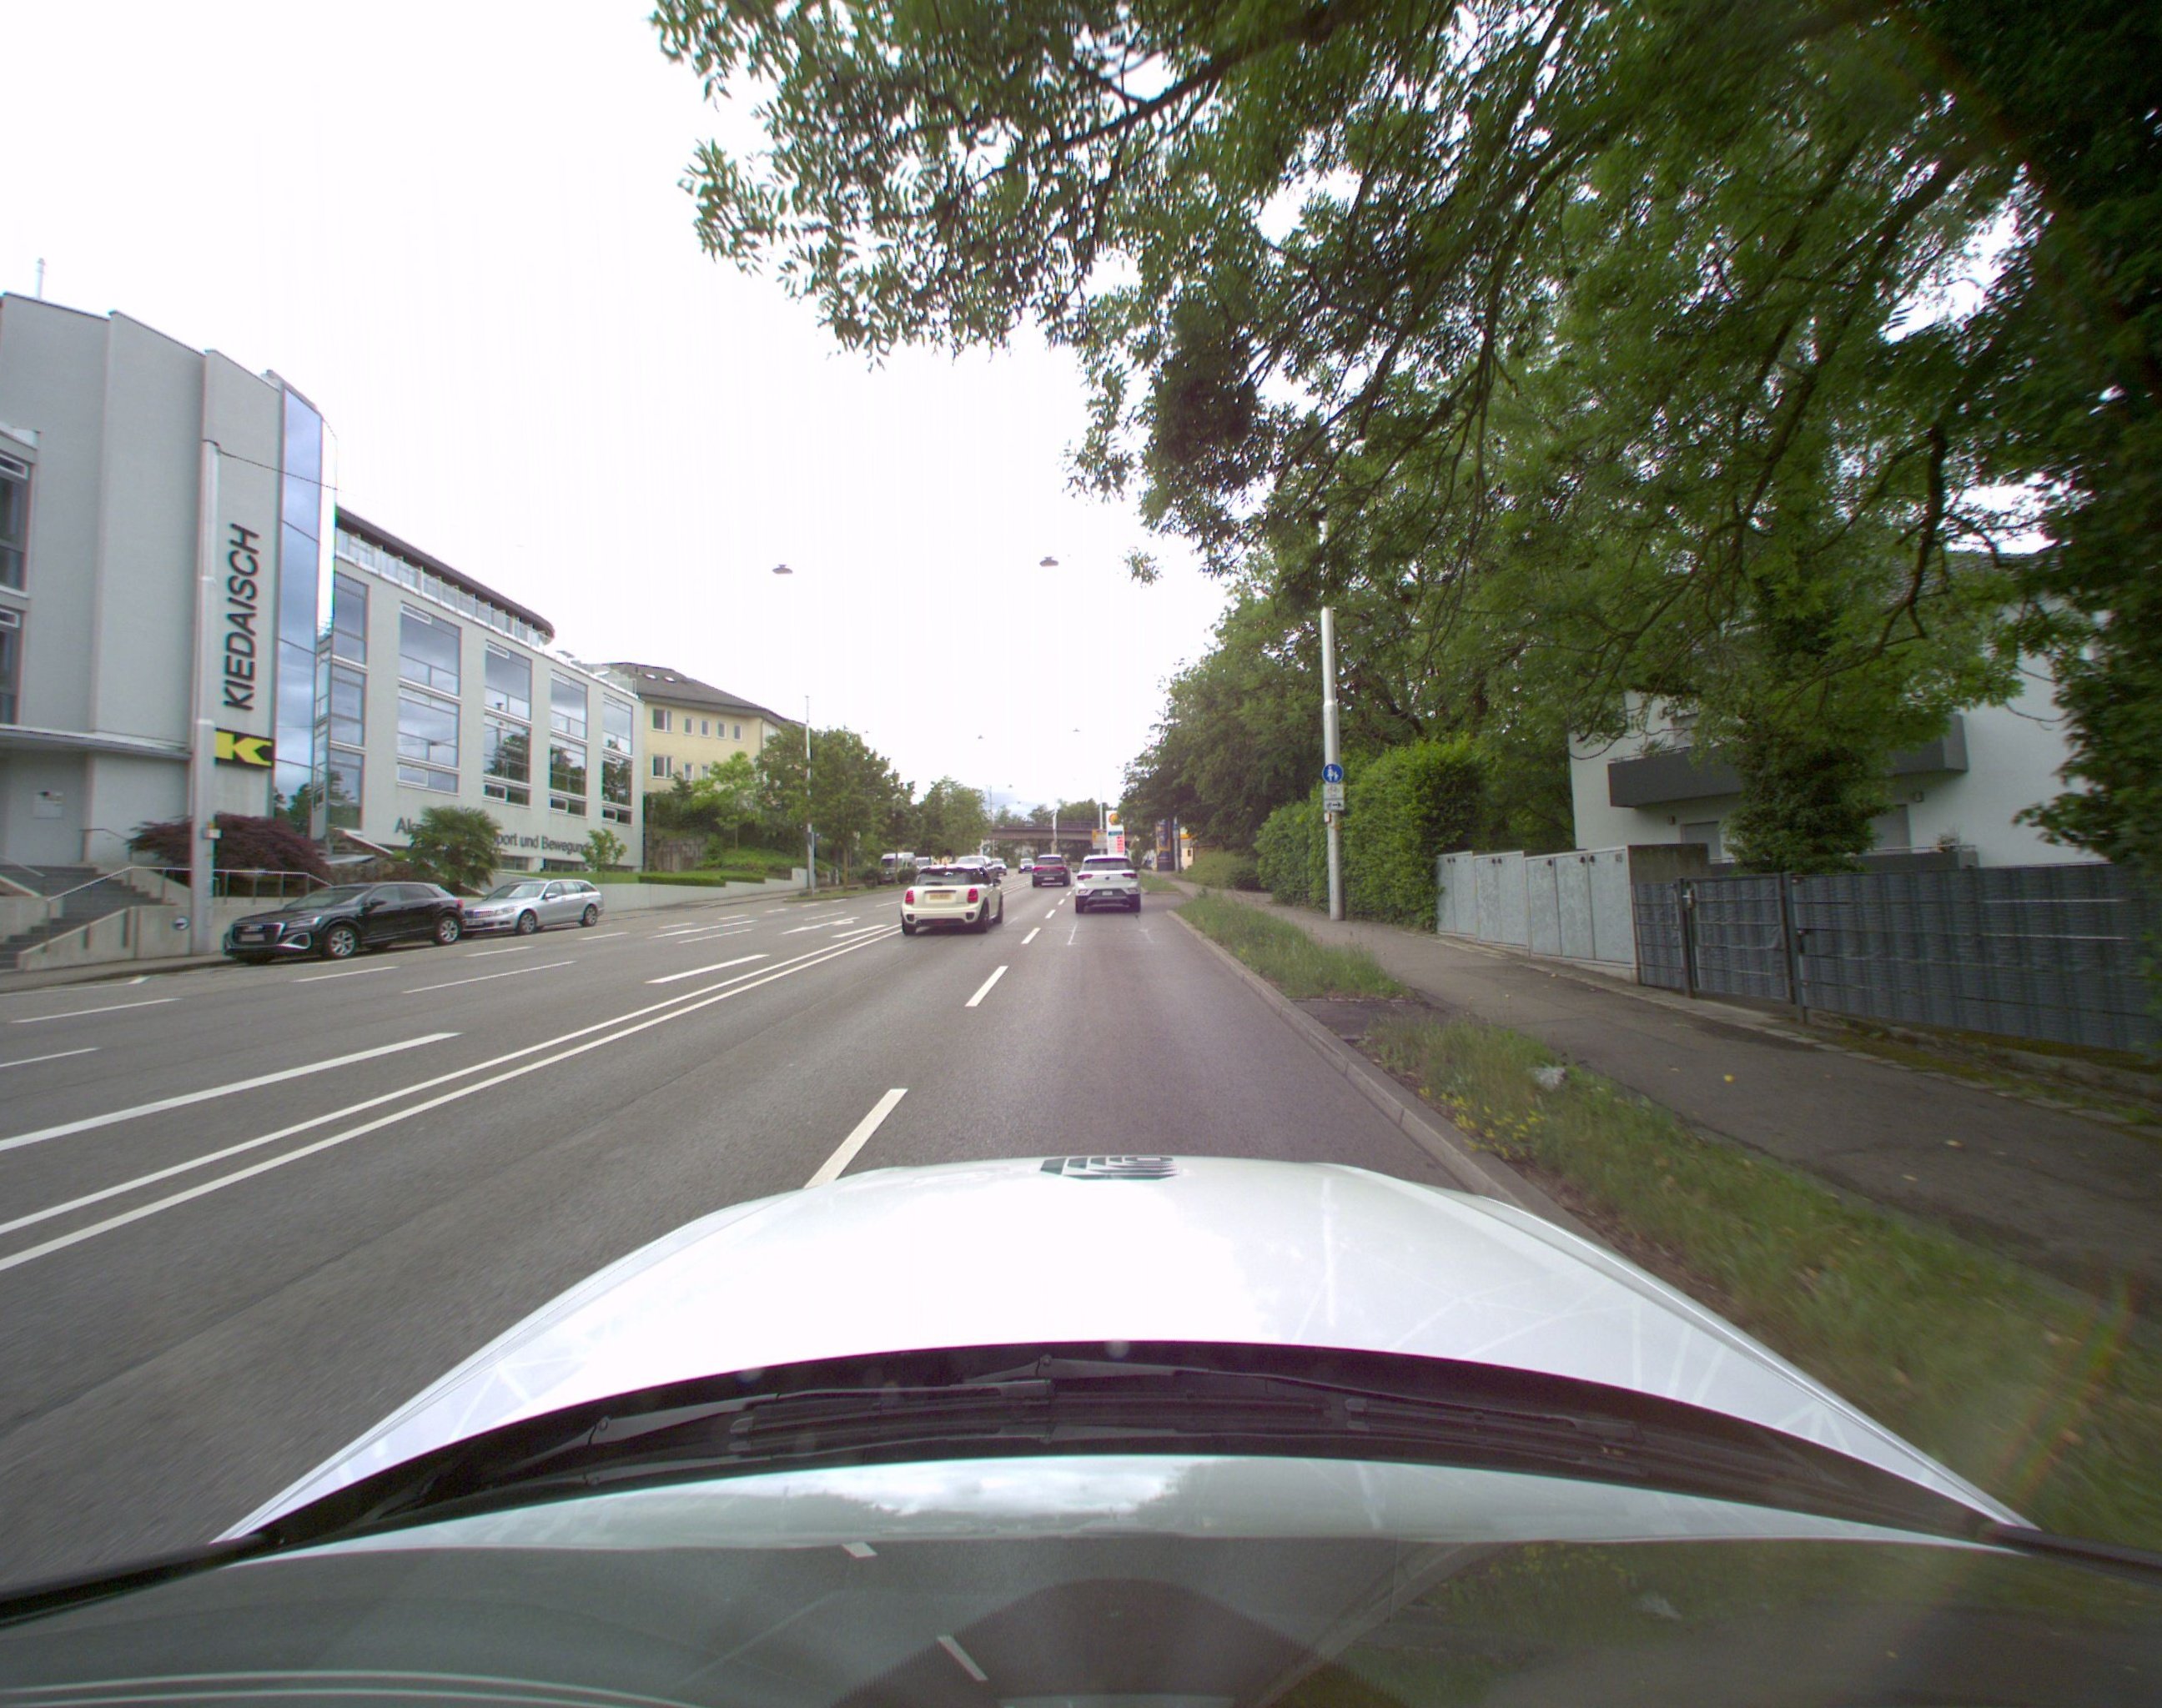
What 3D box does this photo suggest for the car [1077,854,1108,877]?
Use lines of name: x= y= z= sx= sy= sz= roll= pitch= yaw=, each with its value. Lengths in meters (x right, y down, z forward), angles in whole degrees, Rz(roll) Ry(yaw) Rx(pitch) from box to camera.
car: x=0.749 y=0.758 z=53.763 sx=1.673 sy=1.409 sz=3.450 roll=-1 pitch=0 yaw=-5

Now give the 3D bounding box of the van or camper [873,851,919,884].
van or camper: x=-14.672 y=1.048 z=64.948 sx=1.985 sy=2.473 sz=5.714 roll=-3 pitch=0 yaw=3

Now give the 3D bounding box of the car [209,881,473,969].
car: x=-15.189 y=1.381 z=17.069 sx=1.667 sy=1.428 sz=4.091 roll=-2 pitch=0 yaw=2

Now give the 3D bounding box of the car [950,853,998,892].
car: x=-5.171 y=0.878 z=40.046 sx=1.843 sy=1.703 sz=4.758 roll=-2 pitch=0 yaw=-2

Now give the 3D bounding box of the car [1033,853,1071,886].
car: x=-1.464 y=0.777 z=42.759 sx=1.716 sy=1.640 sz=3.458 roll=-1 pitch=0 yaw=2

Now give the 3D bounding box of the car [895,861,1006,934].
car: x=-2.703 y=0.866 z=17.634 sx=1.716 sy=1.376 sz=3.458 roll=-1 pitch=0 yaw=2

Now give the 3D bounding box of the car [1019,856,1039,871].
car: x=-5.765 y=1.061 z=90.479 sx=1.757 sy=1.592 sz=4.367 roll=-1 pitch=0 yaw=2

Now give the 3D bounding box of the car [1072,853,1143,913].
car: x=0.743 y=0.754 z=22.903 sx=1.790 sy=1.519 sz=3.458 roll=-1 pitch=0 yaw=2

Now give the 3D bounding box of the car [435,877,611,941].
car: x=-15.147 y=1.427 z=22.457 sx=1.667 sy=1.428 sz=4.419 roll=-2 pitch=0 yaw=2

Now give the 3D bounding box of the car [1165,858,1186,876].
car: x=9.059 y=1.275 z=78.529 sx=1.728 sy=1.486 sz=3.880 roll=-3 pitch=-4 yaw=3

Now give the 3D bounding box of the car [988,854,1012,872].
car: x=-8.378 y=0.899 z=84.571 sx=1.757 sy=1.708 sz=4.872 roll=-1 pitch=0 yaw=2

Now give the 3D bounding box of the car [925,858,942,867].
car: x=-27.336 y=1.580 z=150.813 sx=1.794 sy=1.575 sz=4.430 roll=-3 pitch=0 yaw=-25

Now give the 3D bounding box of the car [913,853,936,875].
car: x=-16.808 y=1.086 z=87.589 sx=2.269 sy=2.273 sz=6.302 roll=-2 pitch=0 yaw=-11
